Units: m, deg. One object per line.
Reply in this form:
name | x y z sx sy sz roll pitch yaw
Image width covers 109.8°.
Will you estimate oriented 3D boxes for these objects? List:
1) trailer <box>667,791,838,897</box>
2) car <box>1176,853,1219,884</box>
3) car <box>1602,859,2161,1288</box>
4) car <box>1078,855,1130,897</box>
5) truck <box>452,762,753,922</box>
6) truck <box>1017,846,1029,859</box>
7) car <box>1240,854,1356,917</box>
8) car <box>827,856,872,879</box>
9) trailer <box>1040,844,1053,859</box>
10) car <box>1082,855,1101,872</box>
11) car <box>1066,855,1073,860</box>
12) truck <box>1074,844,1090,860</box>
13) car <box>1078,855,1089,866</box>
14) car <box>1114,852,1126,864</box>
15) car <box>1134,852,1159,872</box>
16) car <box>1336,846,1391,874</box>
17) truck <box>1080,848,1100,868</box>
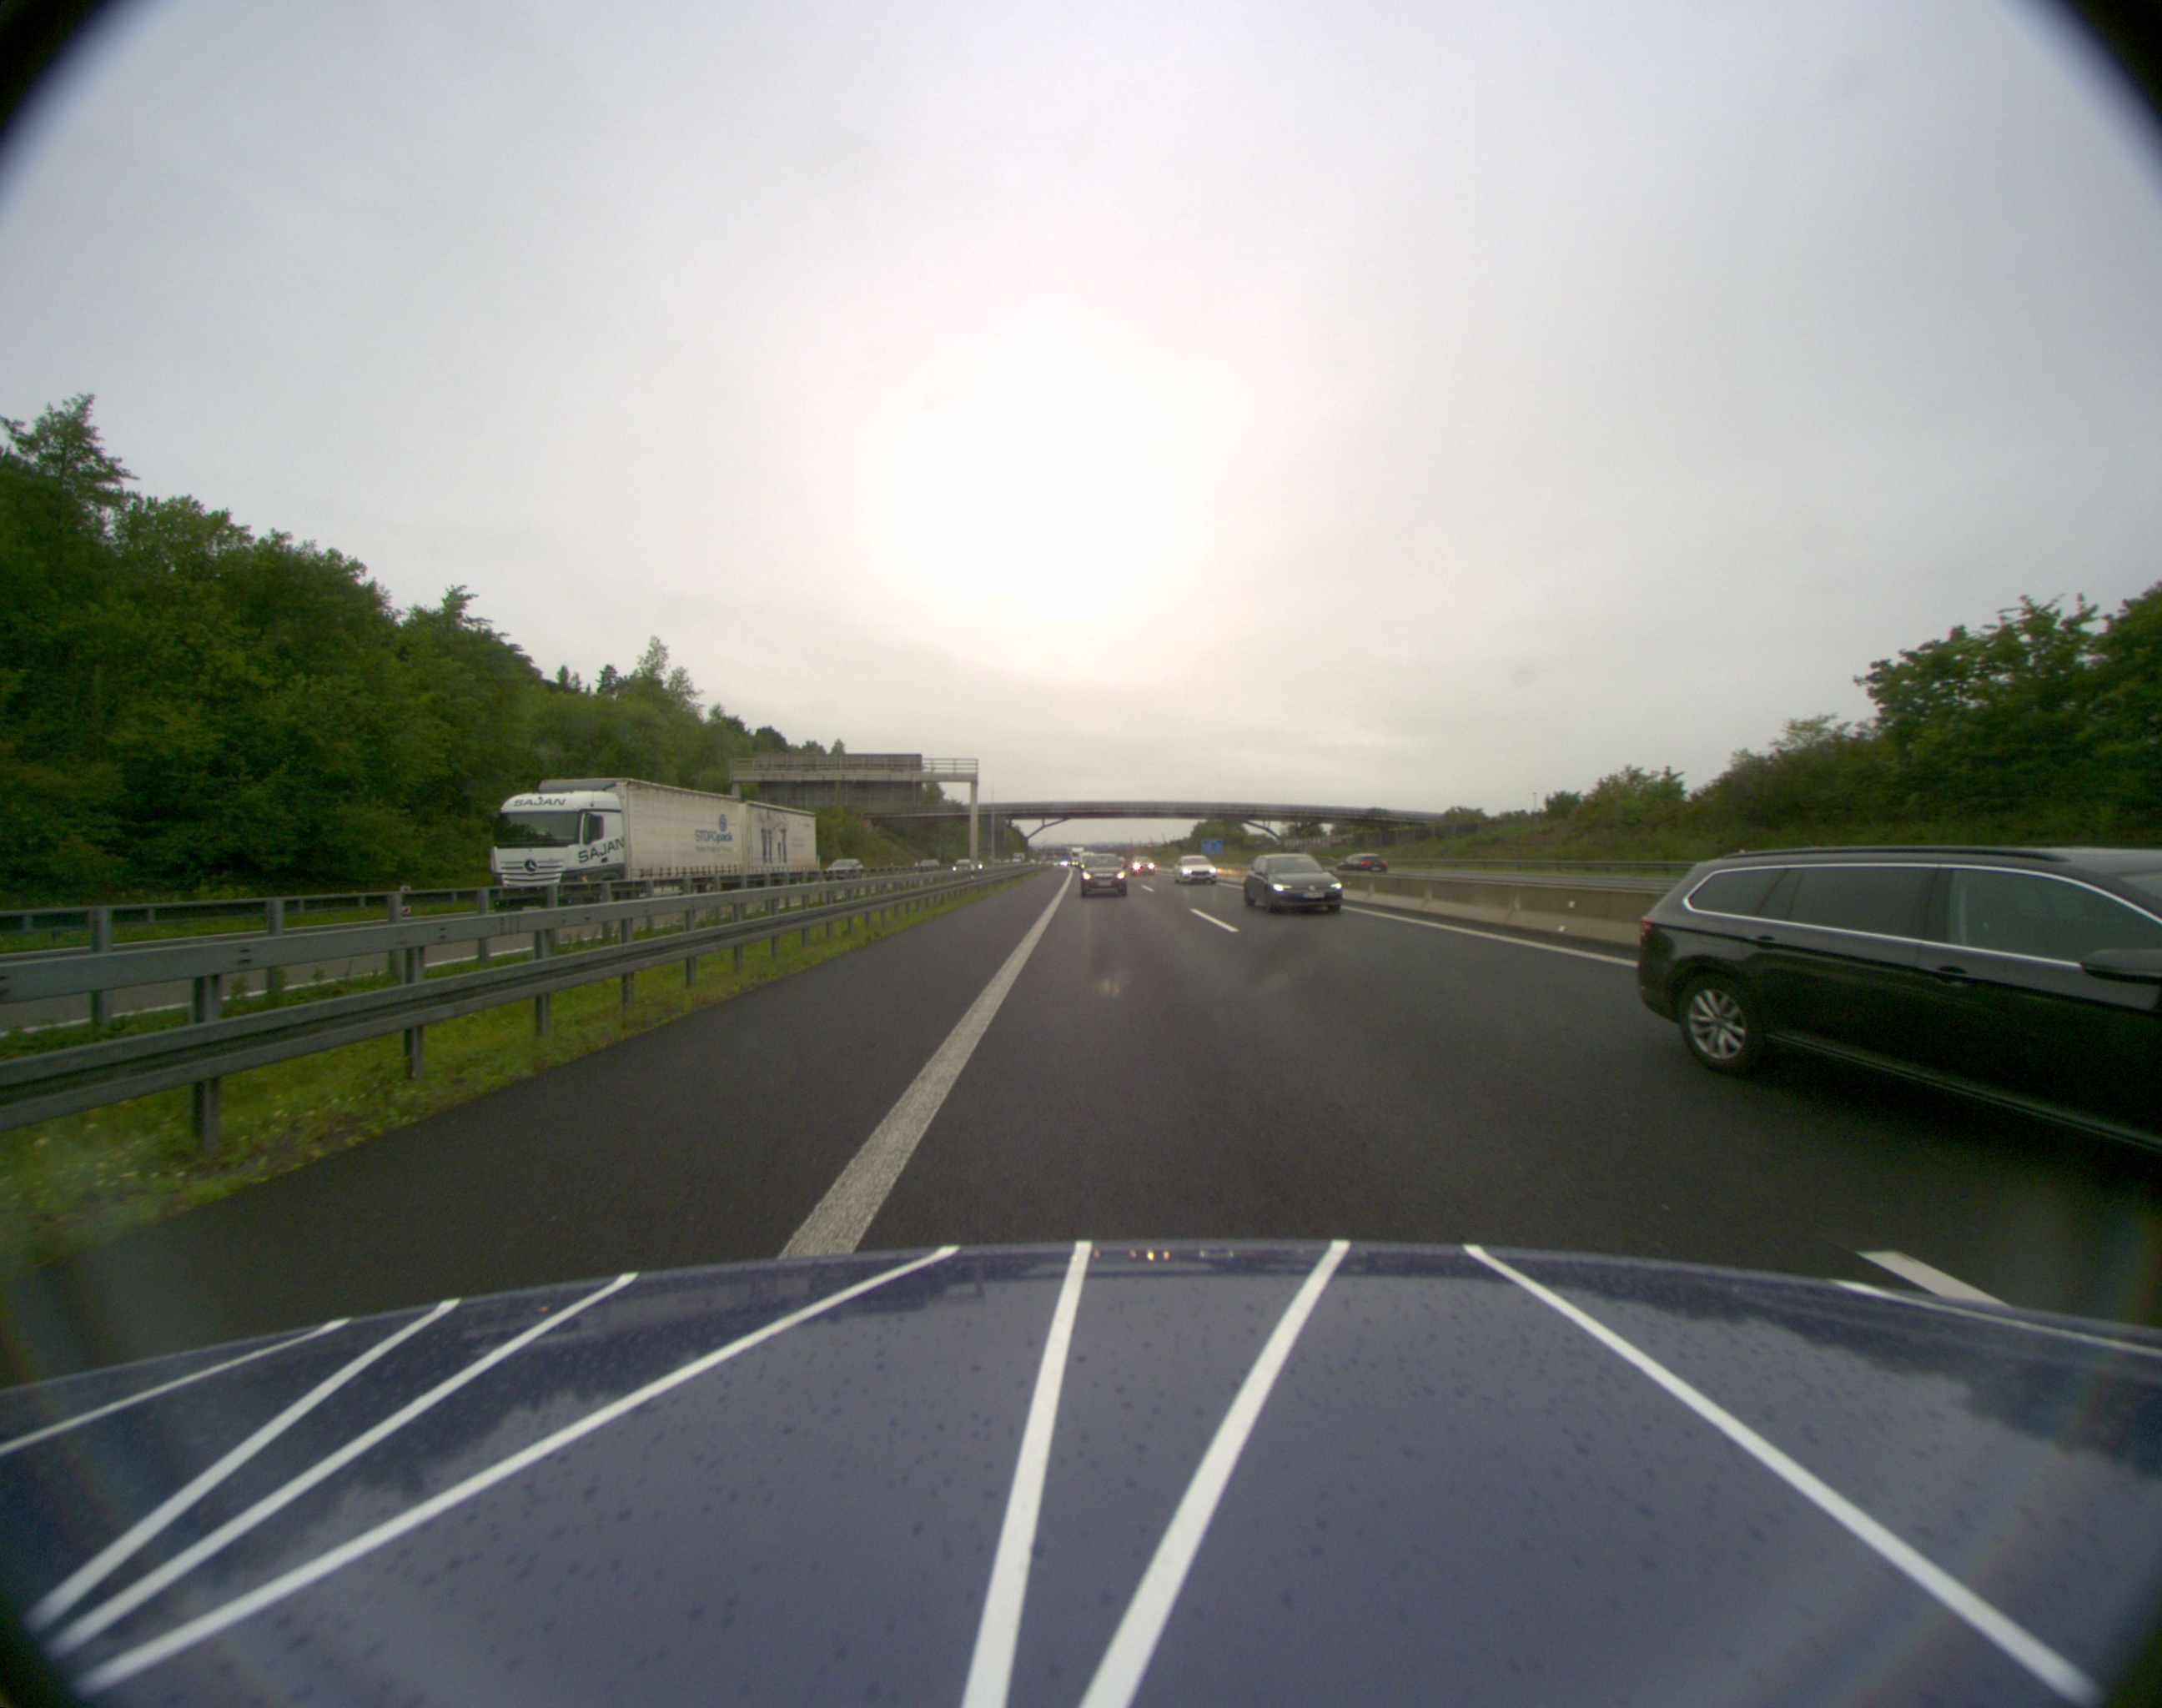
trailer | -15.077 -0.418 36.249 3.446 4.264 10.453 -1 0 1
car | 6.098 0.718 40.139 1.904 1.497 4.115 -1 0 4
car | 4.889 0.814 3.370 1.905 1.488 4.851 -1 0 1
car | 0.993 0.833 30.301 1.905 1.497 4.115 -1 0 4
truck | -15.192 -0.352 25.774 3.446 4.264 10.417 -1 0 1
truck | -15.977 -0.364 211.010 2.909 3.398 9.280 -1 1 -2
car | 5.531 0.741 19.991 1.905 1.397 4.459 -1 0 2
car | -17.259 0.969 56.888 1.864 1.605 4.499 -1 1 2
trailer | -8.756 -0.641 191.938 2.547 3.799 11.330 -1 0 1
car | 1.135 1.014 80.525 1.825 1.669 4.001 -1 1 4
car | -3.875 1.232 254.070 1.916 1.671 4.001 -1 1 4
truck | 0.248 -0.530 166.812 3.153 3.332 13.099 -1 1 1
car | 0.398 1.124 131.381 1.715 1.724 4.000 -1 0 2
car | 6.066 0.552 117.230 1.715 1.724 4.000 -1 0 2
car | 5.270 0.589 61.136 1.905 1.497 4.115 -1 0 4
car | 17.195 0.330 46.496 1.980 1.562 4.502 -1 0 4
truck | 1.010 0.487 88.460 2.175 2.214 5.642 -1 0 0
